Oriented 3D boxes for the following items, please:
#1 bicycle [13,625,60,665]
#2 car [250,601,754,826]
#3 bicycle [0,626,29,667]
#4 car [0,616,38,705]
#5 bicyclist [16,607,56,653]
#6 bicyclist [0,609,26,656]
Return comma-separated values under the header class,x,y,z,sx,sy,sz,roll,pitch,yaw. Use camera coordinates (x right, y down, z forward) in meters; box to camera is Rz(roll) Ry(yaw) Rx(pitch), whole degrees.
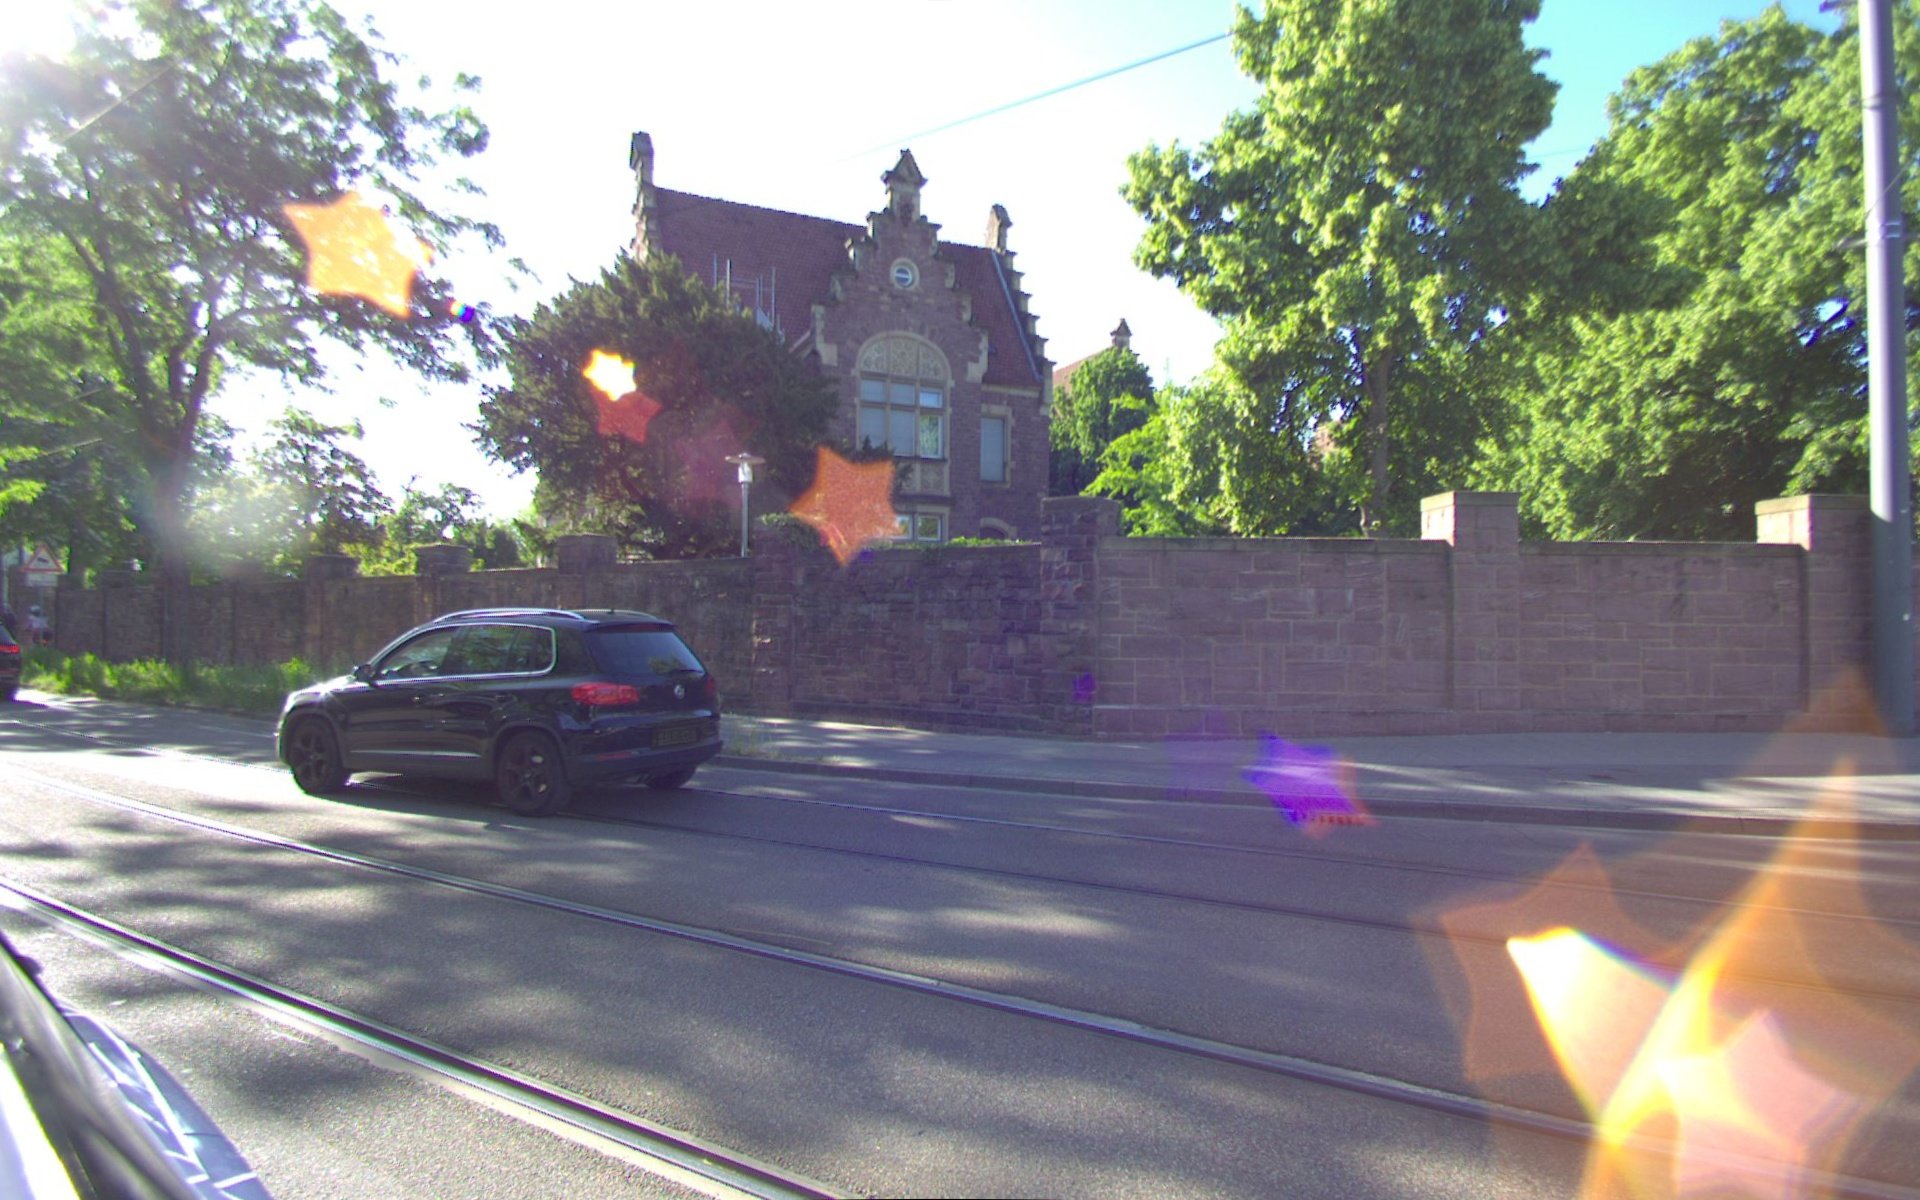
class,x,y,z,sx,sy,sz,roll,pitch,yaw
bicycle,-28.779,1.384,31.527,2.085,1.200,0.725,-1,-1,38
car,-4.084,0.880,9.062,4.091,1.650,1.788,-1,-2,23
bicycle,-29.046,1.389,30.748,2.099,1.200,0.765,-1,-1,38
car,-19.508,1.225,19.390,4.108,1.629,1.904,-4,-2,35
bicyclist,-28.813,0.914,31.554,1.059,1.401,0.725,-1,-1,37
bicyclist,-28.990,0.962,30.710,1.270,1.401,0.759,-1,-1,37
